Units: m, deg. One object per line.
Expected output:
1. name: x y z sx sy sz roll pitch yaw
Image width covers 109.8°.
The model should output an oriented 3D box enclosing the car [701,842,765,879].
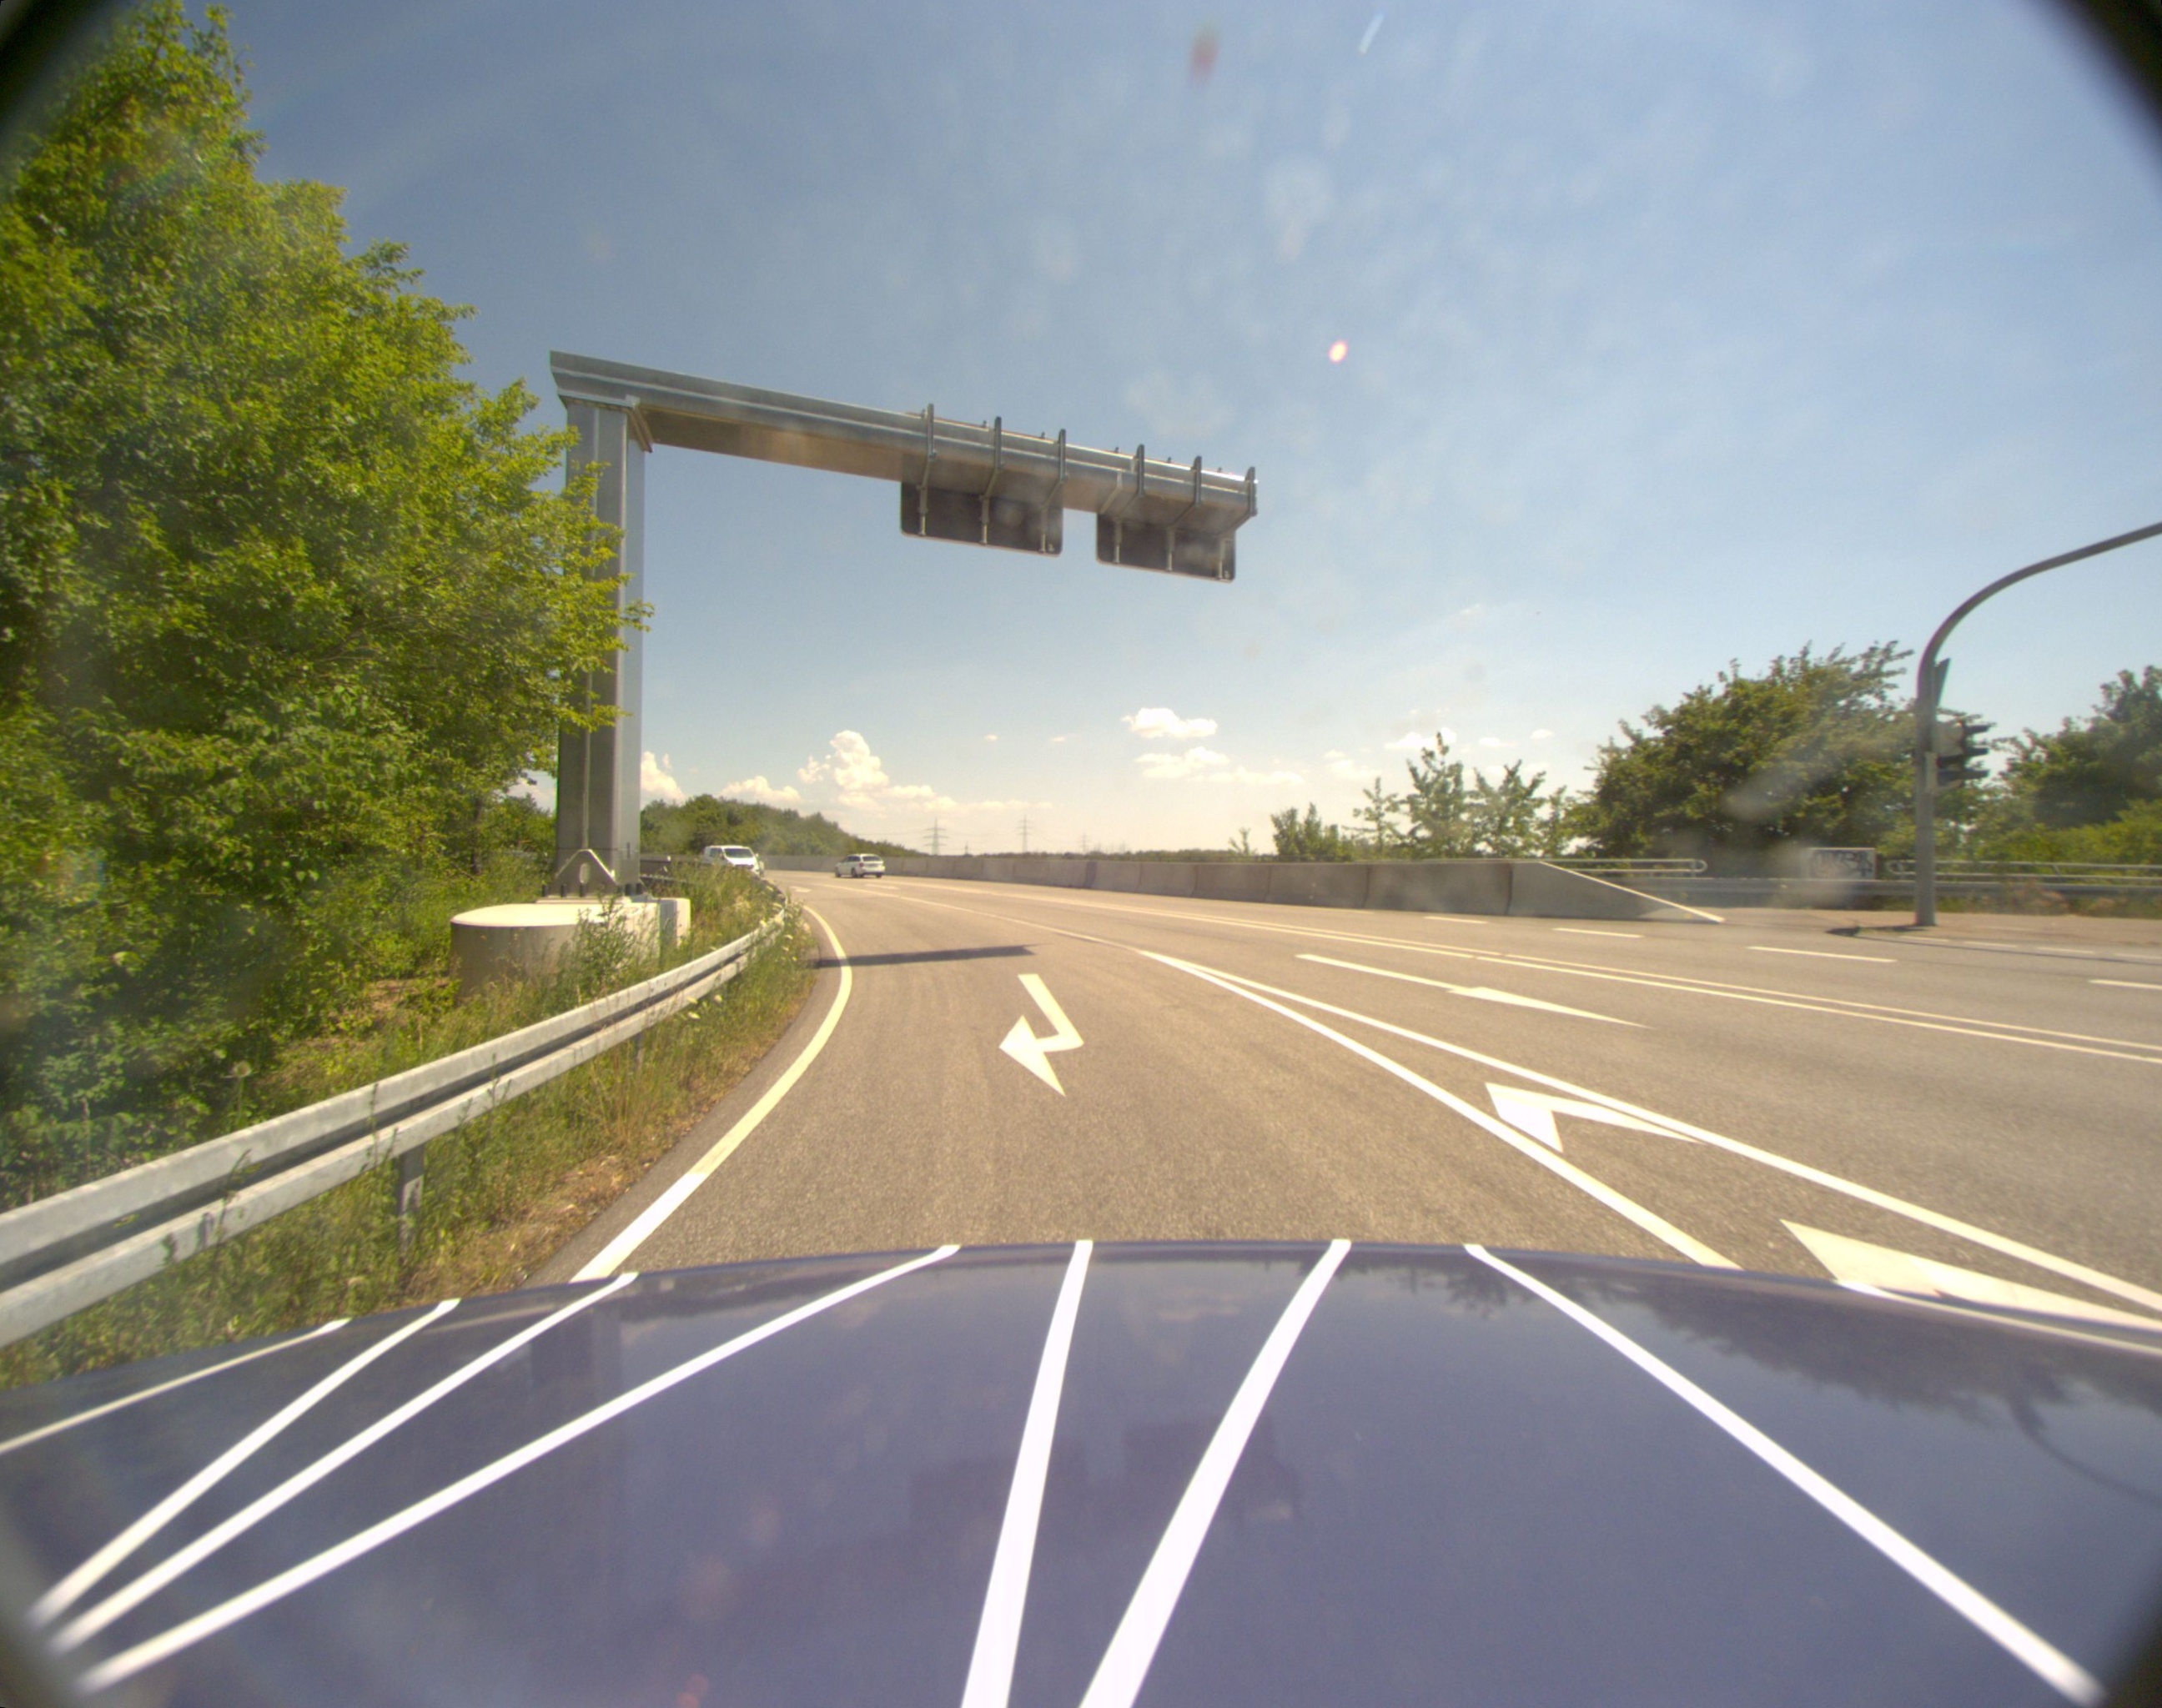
1. car: -21.153 0.381 46.052 2.036 2.072 5.856 -1 0 -40

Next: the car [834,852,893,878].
1. car: -13.532 0.656 47.100 1.797 1.486 4.538 0 0 -40
